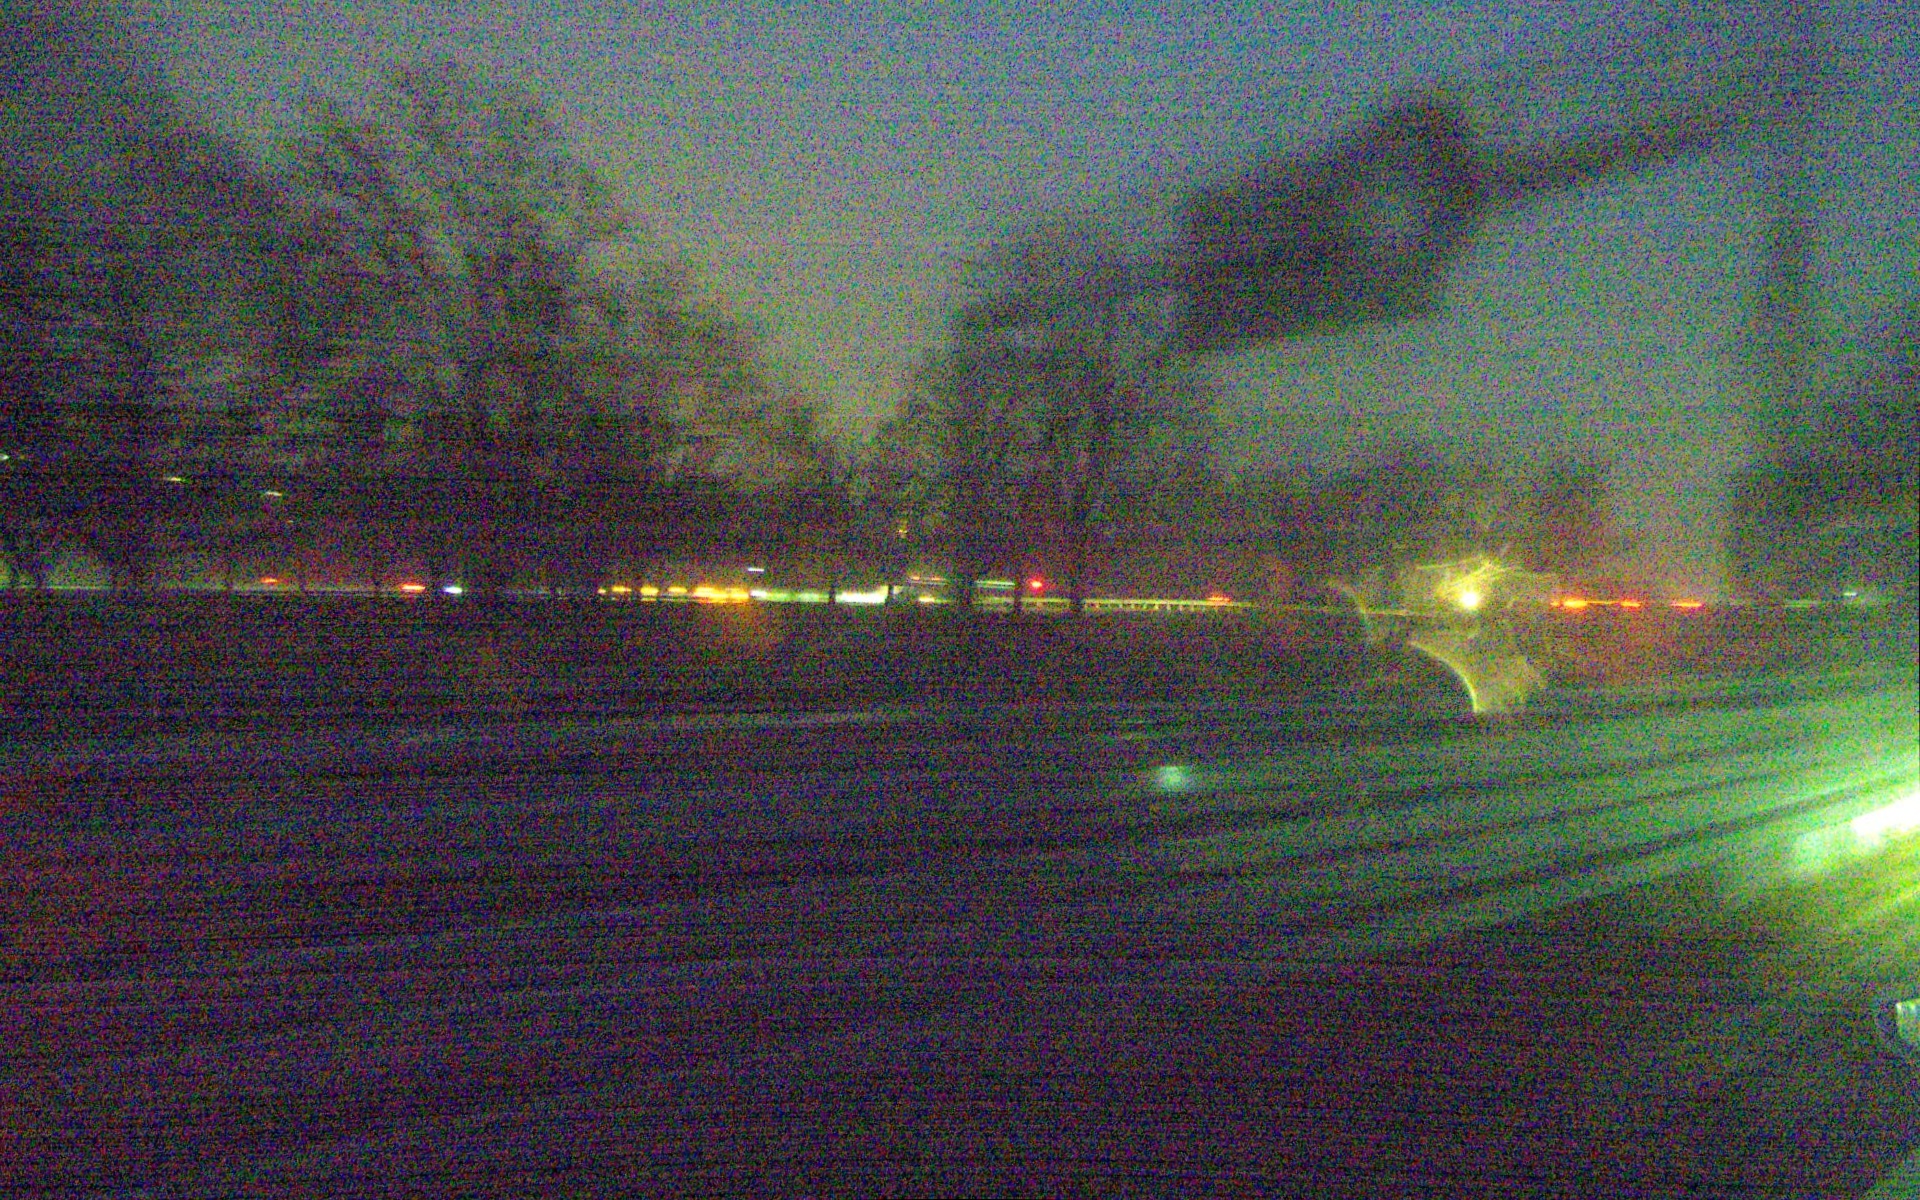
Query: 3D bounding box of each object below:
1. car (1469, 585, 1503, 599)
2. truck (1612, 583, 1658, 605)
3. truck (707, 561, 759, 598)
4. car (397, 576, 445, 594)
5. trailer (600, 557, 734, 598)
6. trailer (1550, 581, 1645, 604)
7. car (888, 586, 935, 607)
[{"bbox_3d":[81.577,-1.233,155.785,4.398,2.041,1.992,1,2,-17],"label":"car"},{"bbox_3d":[92.566,-0.860,137.859,4.674,2.727,2.678,1,2,-13],"label":"truck"},{"bbox_3d":[-24.586,-2.231,108.687,5.366,3.761,2.588,2,3,-14],"label":"truck"},{"bbox_3d":[-52.708,-1.505,98.312,3.942,1.640,1.989,1,3,-22],"label":"car"},{"bbox_3d":[-31.068,-2.410,107.021,13.422,3.775,2.592,2,3,-14],"label":"trailer"},{"bbox_3d":[86.677,-0.994,136.514,12.634,2.736,2.689,1,2,-13],"label":"trailer"},{"bbox_3d":[-4.416,-0.340,91.898,3.920,1.662,1.759,3,3,17],"label":"car"}]
